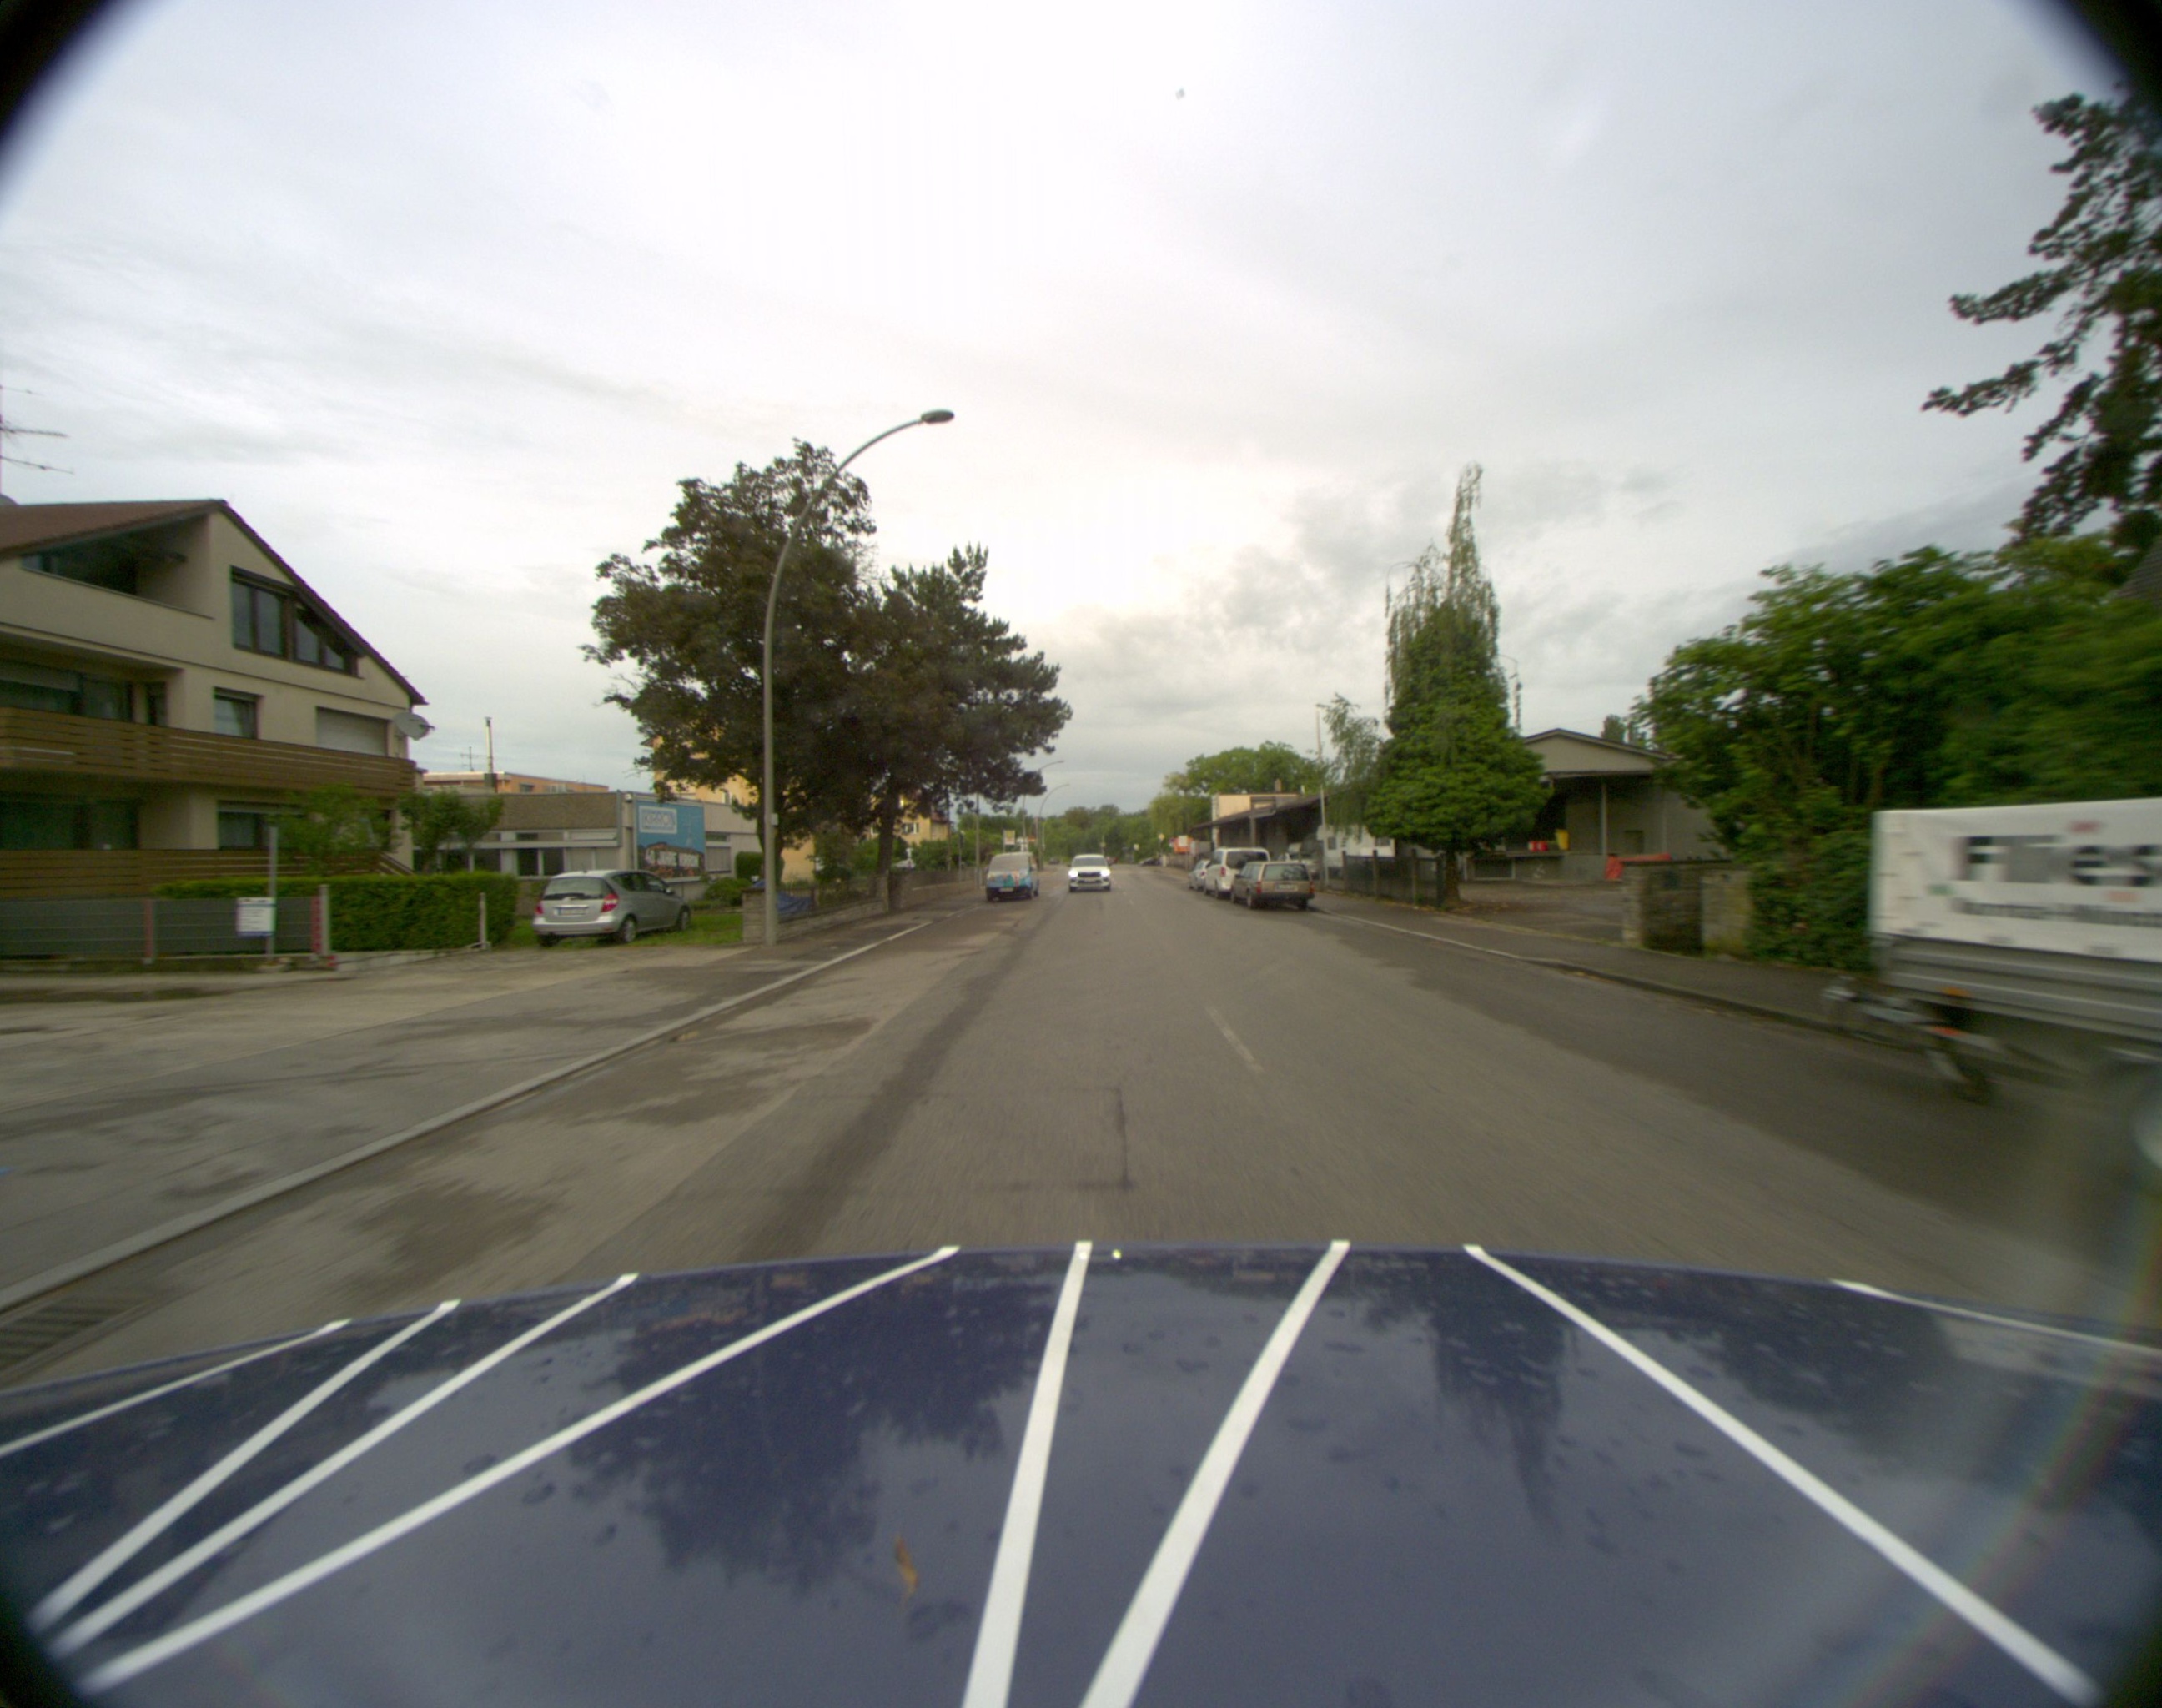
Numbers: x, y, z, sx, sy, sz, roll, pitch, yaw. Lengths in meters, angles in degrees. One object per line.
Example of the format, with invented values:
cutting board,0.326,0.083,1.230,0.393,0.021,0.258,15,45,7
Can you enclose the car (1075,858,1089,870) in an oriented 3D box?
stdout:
car,0.125,1.201,90.123,1.564,1.332,3.129,-3,1,-1

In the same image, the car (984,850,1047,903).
car,-2.570,0.829,31.130,1.735,1.817,5.553,-4,0,3

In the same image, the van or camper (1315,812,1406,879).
van or camper,13.960,-0.428,38.460,2.309,3.018,6.150,-3,1,1

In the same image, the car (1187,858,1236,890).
car,6.041,0.896,35.596,1.642,1.357,4.707,0,1,2

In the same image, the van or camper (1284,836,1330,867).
van or camper,15.212,-0.206,51.411,1.926,1.924,4.374,-3,1,3

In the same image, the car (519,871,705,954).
car,-10.264,1.197,17.034,1.749,1.479,4.116,-2,0,-3

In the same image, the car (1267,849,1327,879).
car,11.547,0.470,40.908,1.833,1.432,4.788,-3,1,1

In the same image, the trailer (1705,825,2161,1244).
trailer,5.531,0.743,3.319,1.934,1.755,4.548,-2,0,2

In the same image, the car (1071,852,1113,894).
car,0.458,0.794,33.930,1.692,1.651,3.999,-3,1,-1

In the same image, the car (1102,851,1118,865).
car,3.582,0.468,94.085,1.898,1.678,4.231,0,1,2

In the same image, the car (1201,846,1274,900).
car,5.948,0.645,29.449,1.898,1.881,5.210,0,1,2

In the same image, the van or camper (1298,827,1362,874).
van or camper,14.486,-0.216,44.568,1.998,2.476,5.197,-3,1,1

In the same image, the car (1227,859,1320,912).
car,5.940,0.915,24.052,1.820,1.419,4.981,0,1,2
